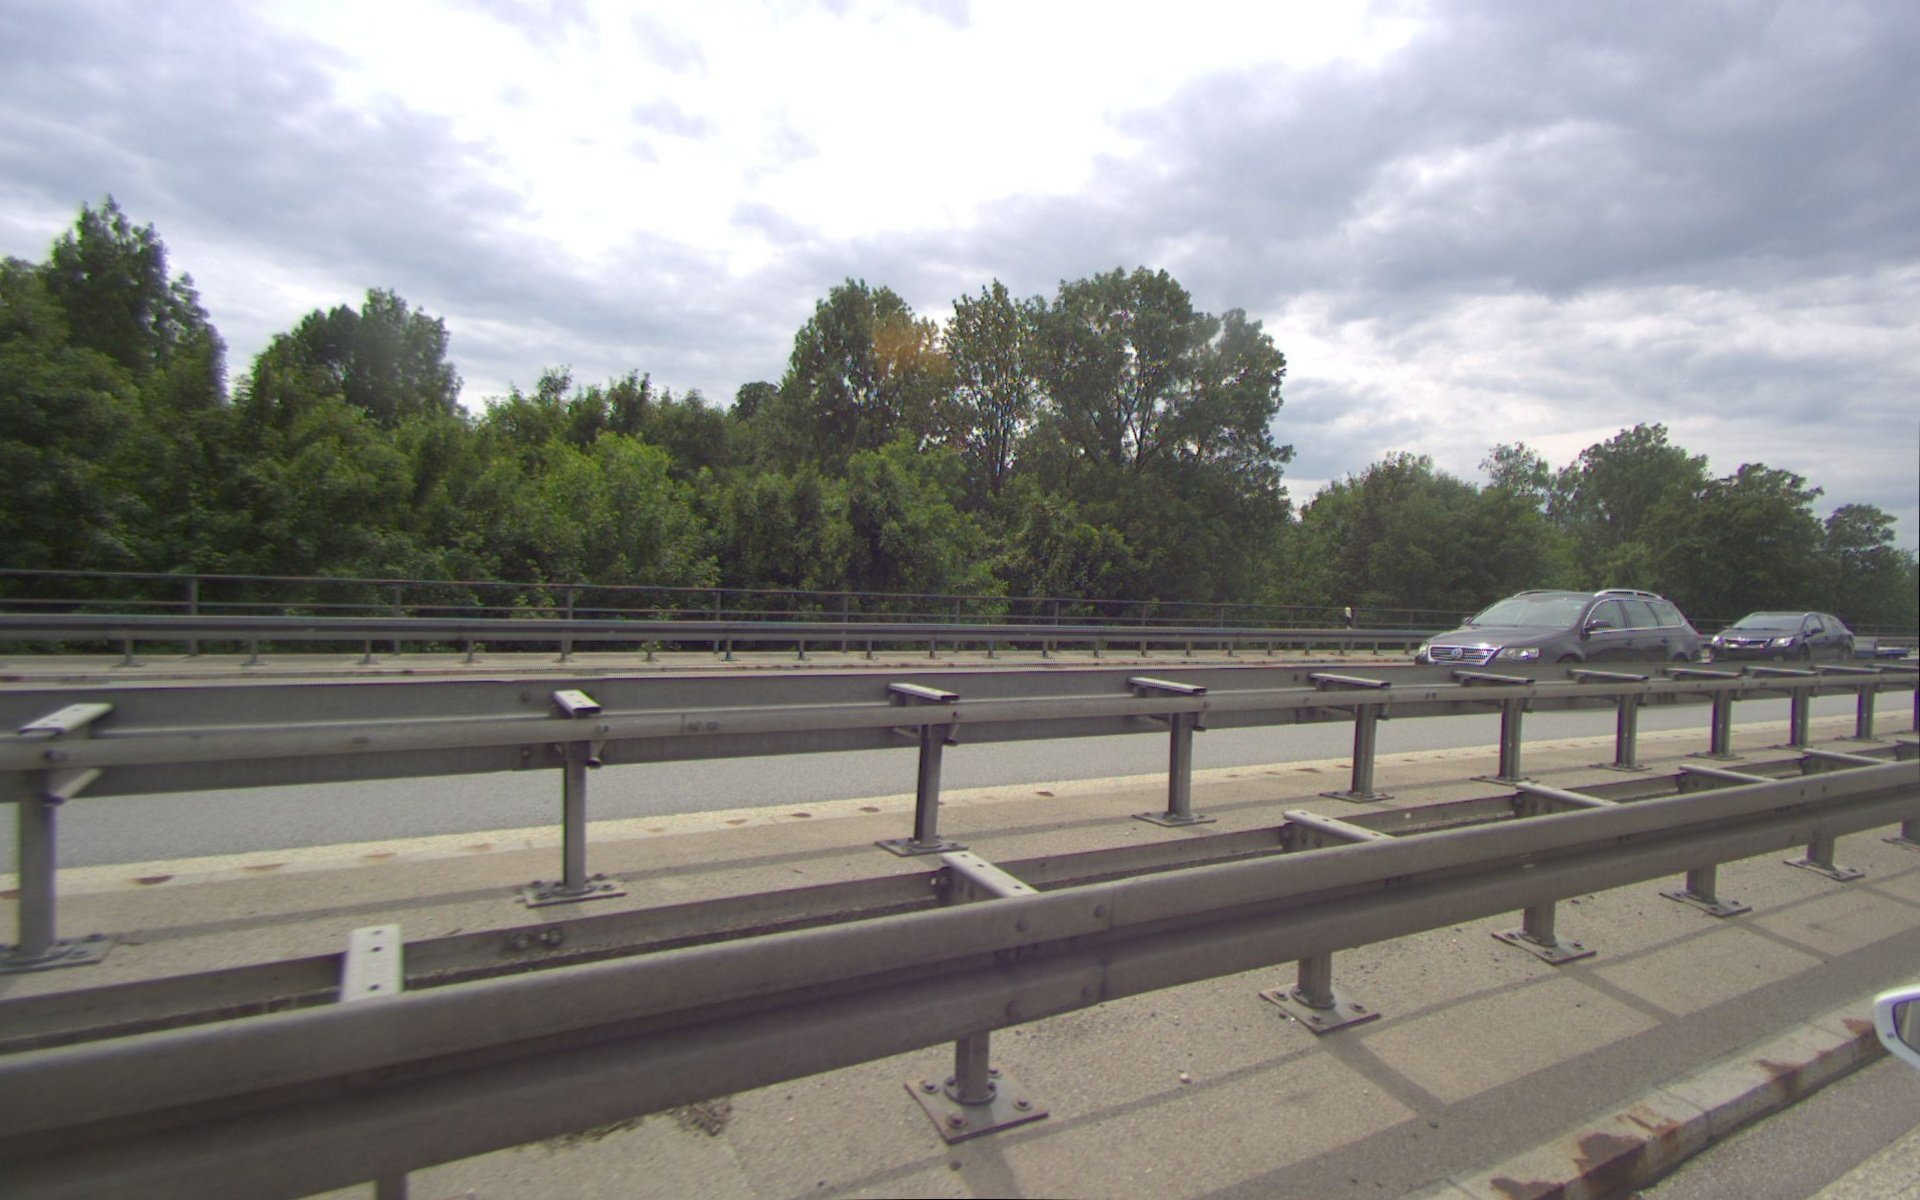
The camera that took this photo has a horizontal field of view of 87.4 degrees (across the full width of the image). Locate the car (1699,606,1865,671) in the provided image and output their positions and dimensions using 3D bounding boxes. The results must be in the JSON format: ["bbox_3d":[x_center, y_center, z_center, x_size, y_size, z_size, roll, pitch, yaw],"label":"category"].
[{"bbox_3d":[20.557,0.950,25.061,4.888,1.429,1.728,2,0,-32],"label":"car"}]

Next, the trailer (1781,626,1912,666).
[{"bbox_3d":[24.316,1.256,27.528,3.957,0.964,1.659,2,0,-33],"label":"trailer"}]

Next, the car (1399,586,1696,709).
[{"bbox_3d":[7.762,0.580,13.176,4.102,1.385,1.642,2,0,-32],"label":"car"}]
